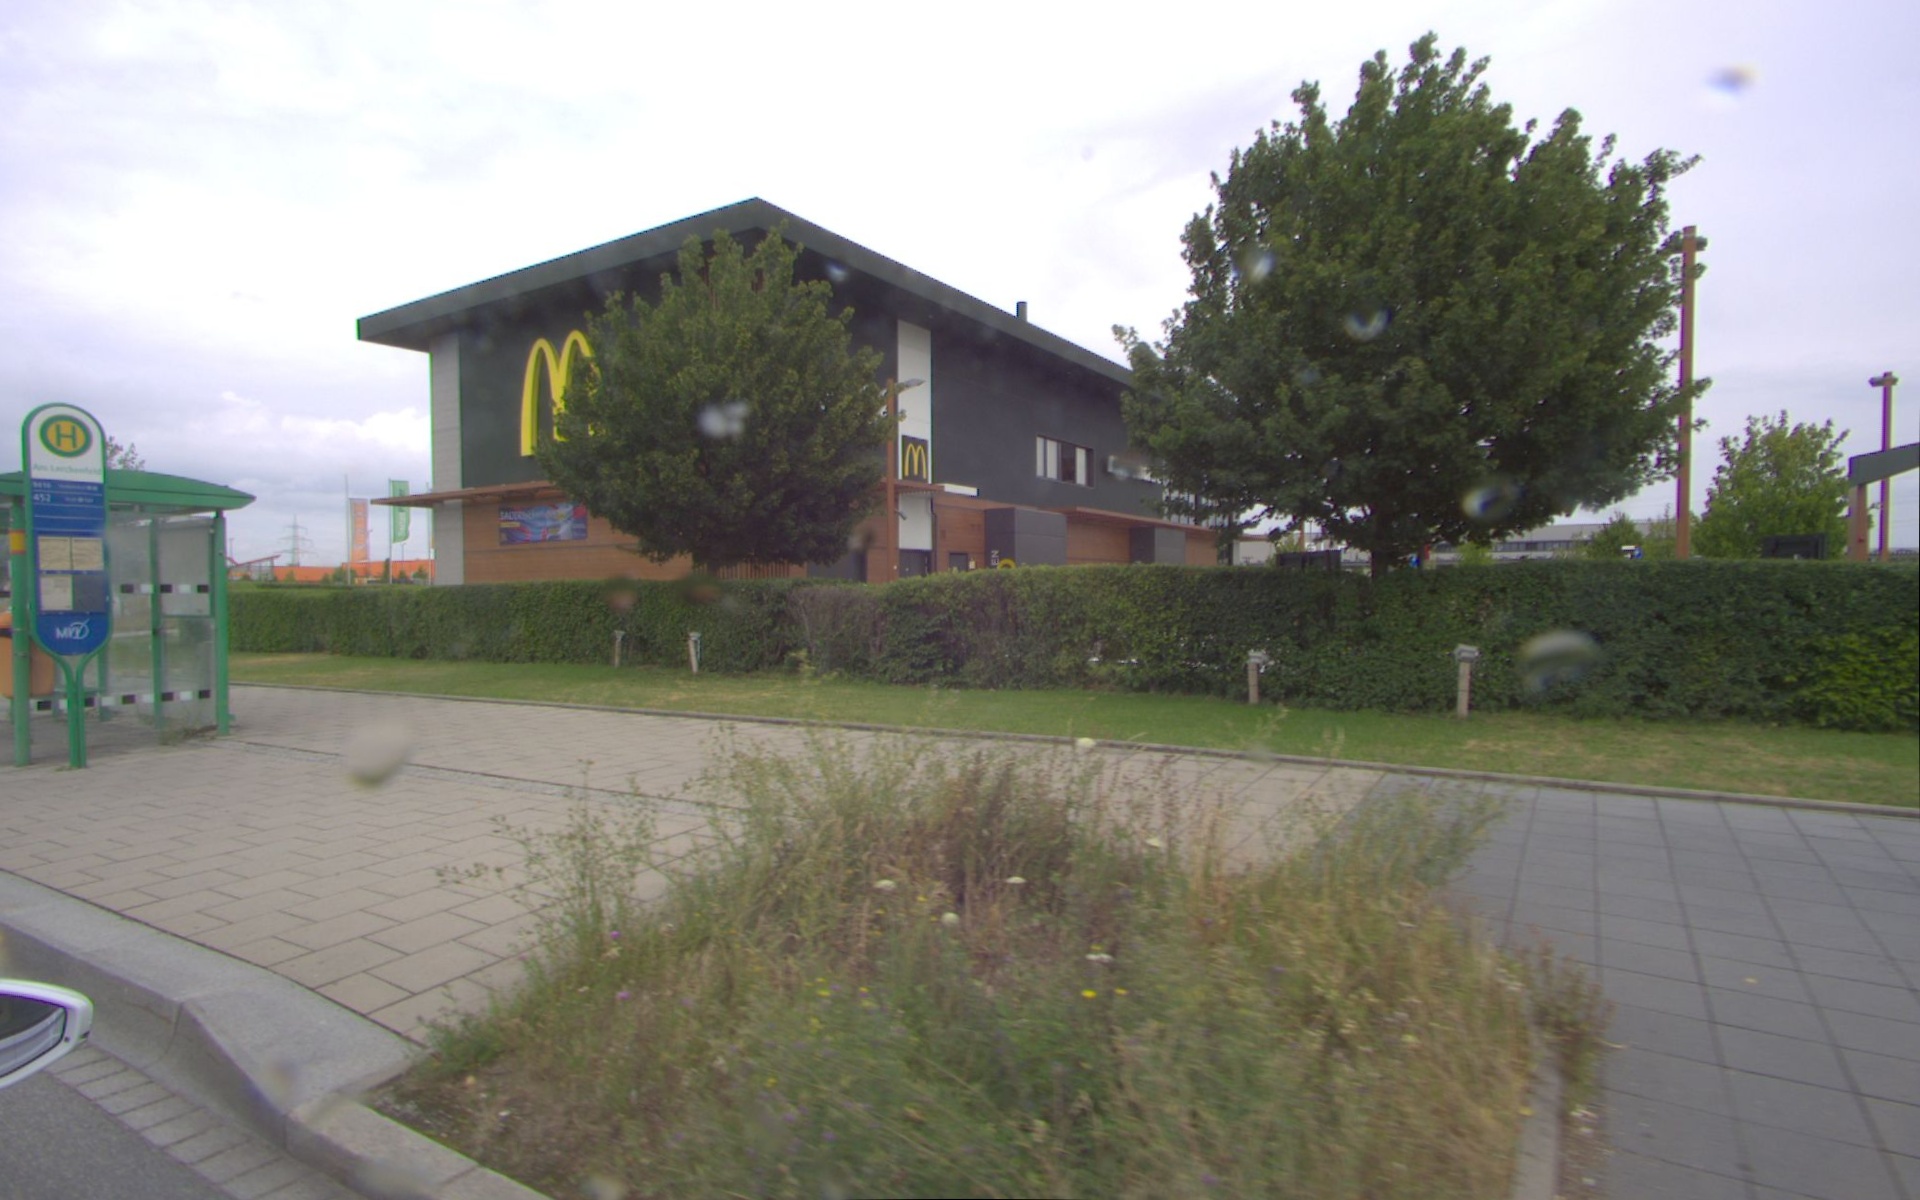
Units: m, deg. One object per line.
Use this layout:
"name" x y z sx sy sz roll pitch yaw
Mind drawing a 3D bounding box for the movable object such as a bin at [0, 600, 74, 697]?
"movable object such as a bin" -8.054 0.410 8.687 0.374 0.808 0.455 0 1 31

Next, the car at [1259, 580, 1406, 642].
"car" 11.189 0.329 30.407 2.085 1.739 4.222 0 0 -17

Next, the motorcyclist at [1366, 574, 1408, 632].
"motorcyclist" 13.923 0.113 32.666 0.948 1.856 0.843 0 0 -20

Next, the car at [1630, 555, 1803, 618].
"car" 31.951 -0.570 42.384 5.932 2.562 2.280 0 1 -8

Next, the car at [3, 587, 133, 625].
"car" -43.615 0.279 49.035 1.978 1.780 4.577 0 0 42
